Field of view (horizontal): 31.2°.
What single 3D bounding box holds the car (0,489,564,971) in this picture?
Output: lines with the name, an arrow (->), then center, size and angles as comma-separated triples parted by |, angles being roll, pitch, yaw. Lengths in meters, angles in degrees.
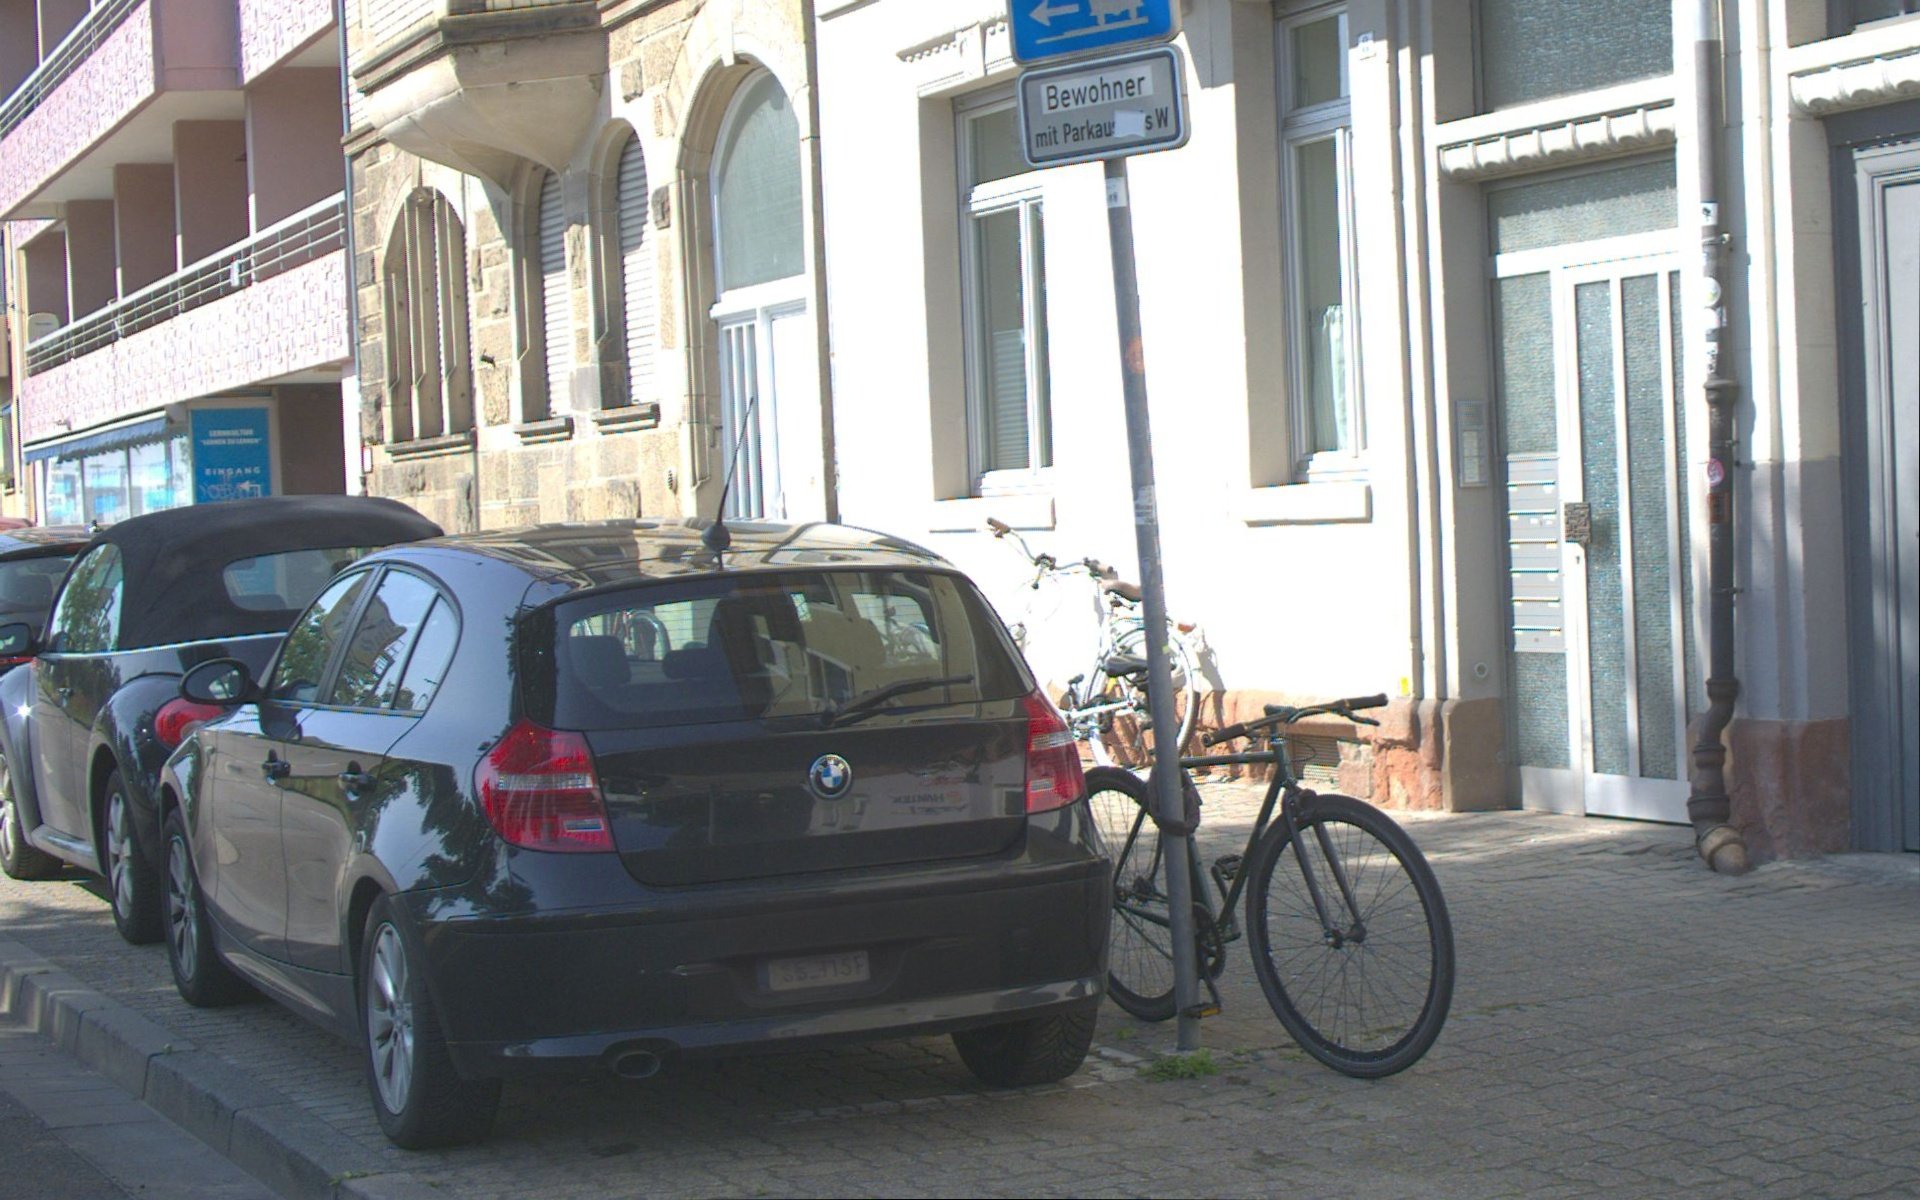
car -> -2.999, 0.395, 13.441 | 1.642, 1.496, 4.011 | -4, 2, -24

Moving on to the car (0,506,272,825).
car -> -4.967, 0.288, 18.169 | 1.642, 1.448, 4.127 | -3, 2, -24

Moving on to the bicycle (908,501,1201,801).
bicycle -> 0.396, 0.193, 15.302 | 0.566, 1.176, 1.627 | -5, 5, -26

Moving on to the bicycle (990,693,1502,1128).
bicycle -> 0.662, 0.717, 8.480 | 0.448, 0.888, 1.581 | -4, 2, -27

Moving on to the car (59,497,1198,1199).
car -> -1.132, 0.496, 9.206 | 1.740, 1.411, 4.082 | -3, 2, -24

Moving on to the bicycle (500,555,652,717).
bicycle -> -2.466, 0.212, 21.966 | 0.507, 0.966, 1.653 | -3, 2, -22

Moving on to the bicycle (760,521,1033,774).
bicycle -> -0.335, 0.209, 16.975 | 0.655, 1.142, 1.627 | -5, 3, -26

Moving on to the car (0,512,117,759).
car -> -6.844, 0.225, 22.847 | 1.784, 1.477, 4.001 | -4, 2, -22
